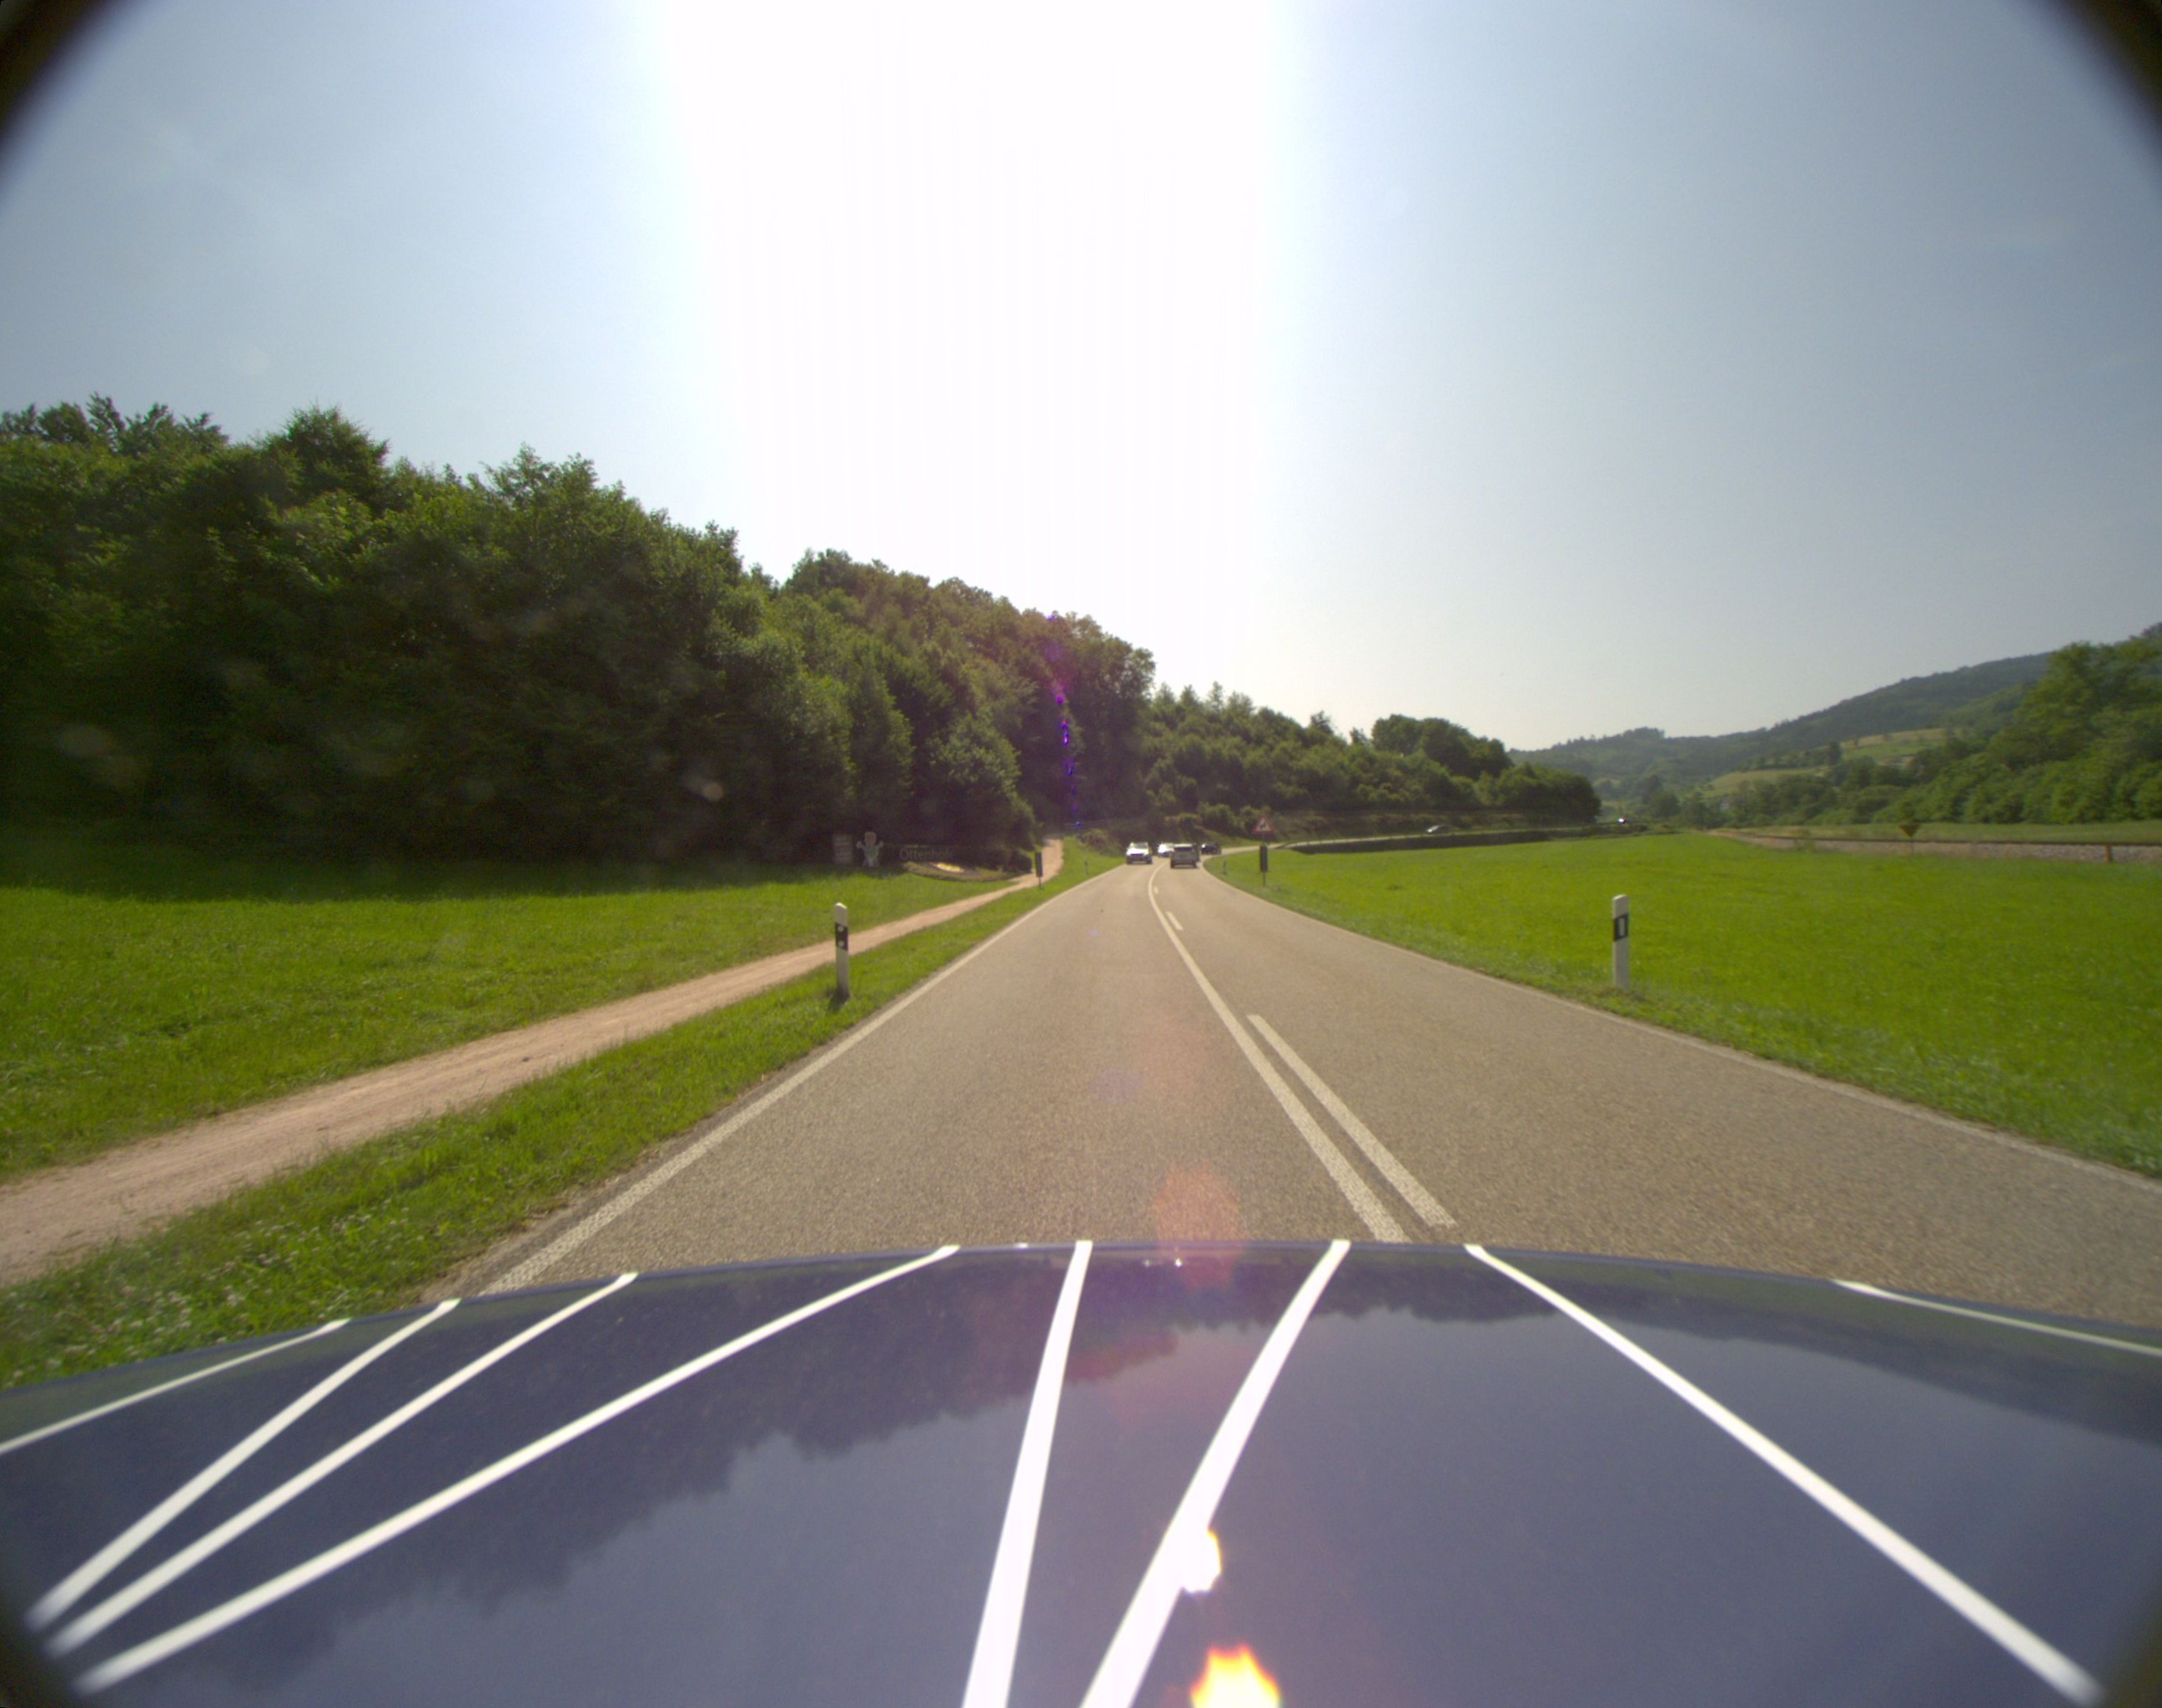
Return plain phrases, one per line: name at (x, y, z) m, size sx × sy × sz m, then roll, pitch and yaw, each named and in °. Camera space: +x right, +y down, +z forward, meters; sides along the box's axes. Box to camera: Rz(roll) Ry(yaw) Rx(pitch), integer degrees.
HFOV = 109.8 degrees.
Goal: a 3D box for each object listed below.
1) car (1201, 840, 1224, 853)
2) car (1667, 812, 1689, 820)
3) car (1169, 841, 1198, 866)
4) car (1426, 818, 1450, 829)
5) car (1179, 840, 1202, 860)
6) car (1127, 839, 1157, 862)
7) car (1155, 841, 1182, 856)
car at (15.967, -0.897, 92.104) m, size 1.918 × 1.462 × 4.516 m, roll -2°, pitch 0°, yaw 19°
car at (139.576, -8.848, 177.644) m, size 4.902 × 1.730 × 1.951 m, roll -2°, pitch 2°, yaw -26°
car at (7.307, -0.047, 54.076) m, size 1.919 × 1.704 × 4.162 m, roll -1°, pitch 0°, yaw 8°
car at (68.272, -5.890, 145.230) m, size 4.005 × 2.002 × 1.996 m, roll -2°, pitch 0°, yaw -25°
car at (10.058, -0.397, 69.386) m, size 1.869 × 1.615 × 4.512 m, roll -1°, pitch 2°, yaw 11°
car at (5.147, -0.312, 63.972) m, size 2.116 × 1.804 × 4.458 m, roll -1°, pitch 1°, yaw 9°
car at (9.586, -0.586, 82.904) m, size 2.143 × 1.482 × 4.678 m, roll 1°, pitch 0°, yaw 16°
